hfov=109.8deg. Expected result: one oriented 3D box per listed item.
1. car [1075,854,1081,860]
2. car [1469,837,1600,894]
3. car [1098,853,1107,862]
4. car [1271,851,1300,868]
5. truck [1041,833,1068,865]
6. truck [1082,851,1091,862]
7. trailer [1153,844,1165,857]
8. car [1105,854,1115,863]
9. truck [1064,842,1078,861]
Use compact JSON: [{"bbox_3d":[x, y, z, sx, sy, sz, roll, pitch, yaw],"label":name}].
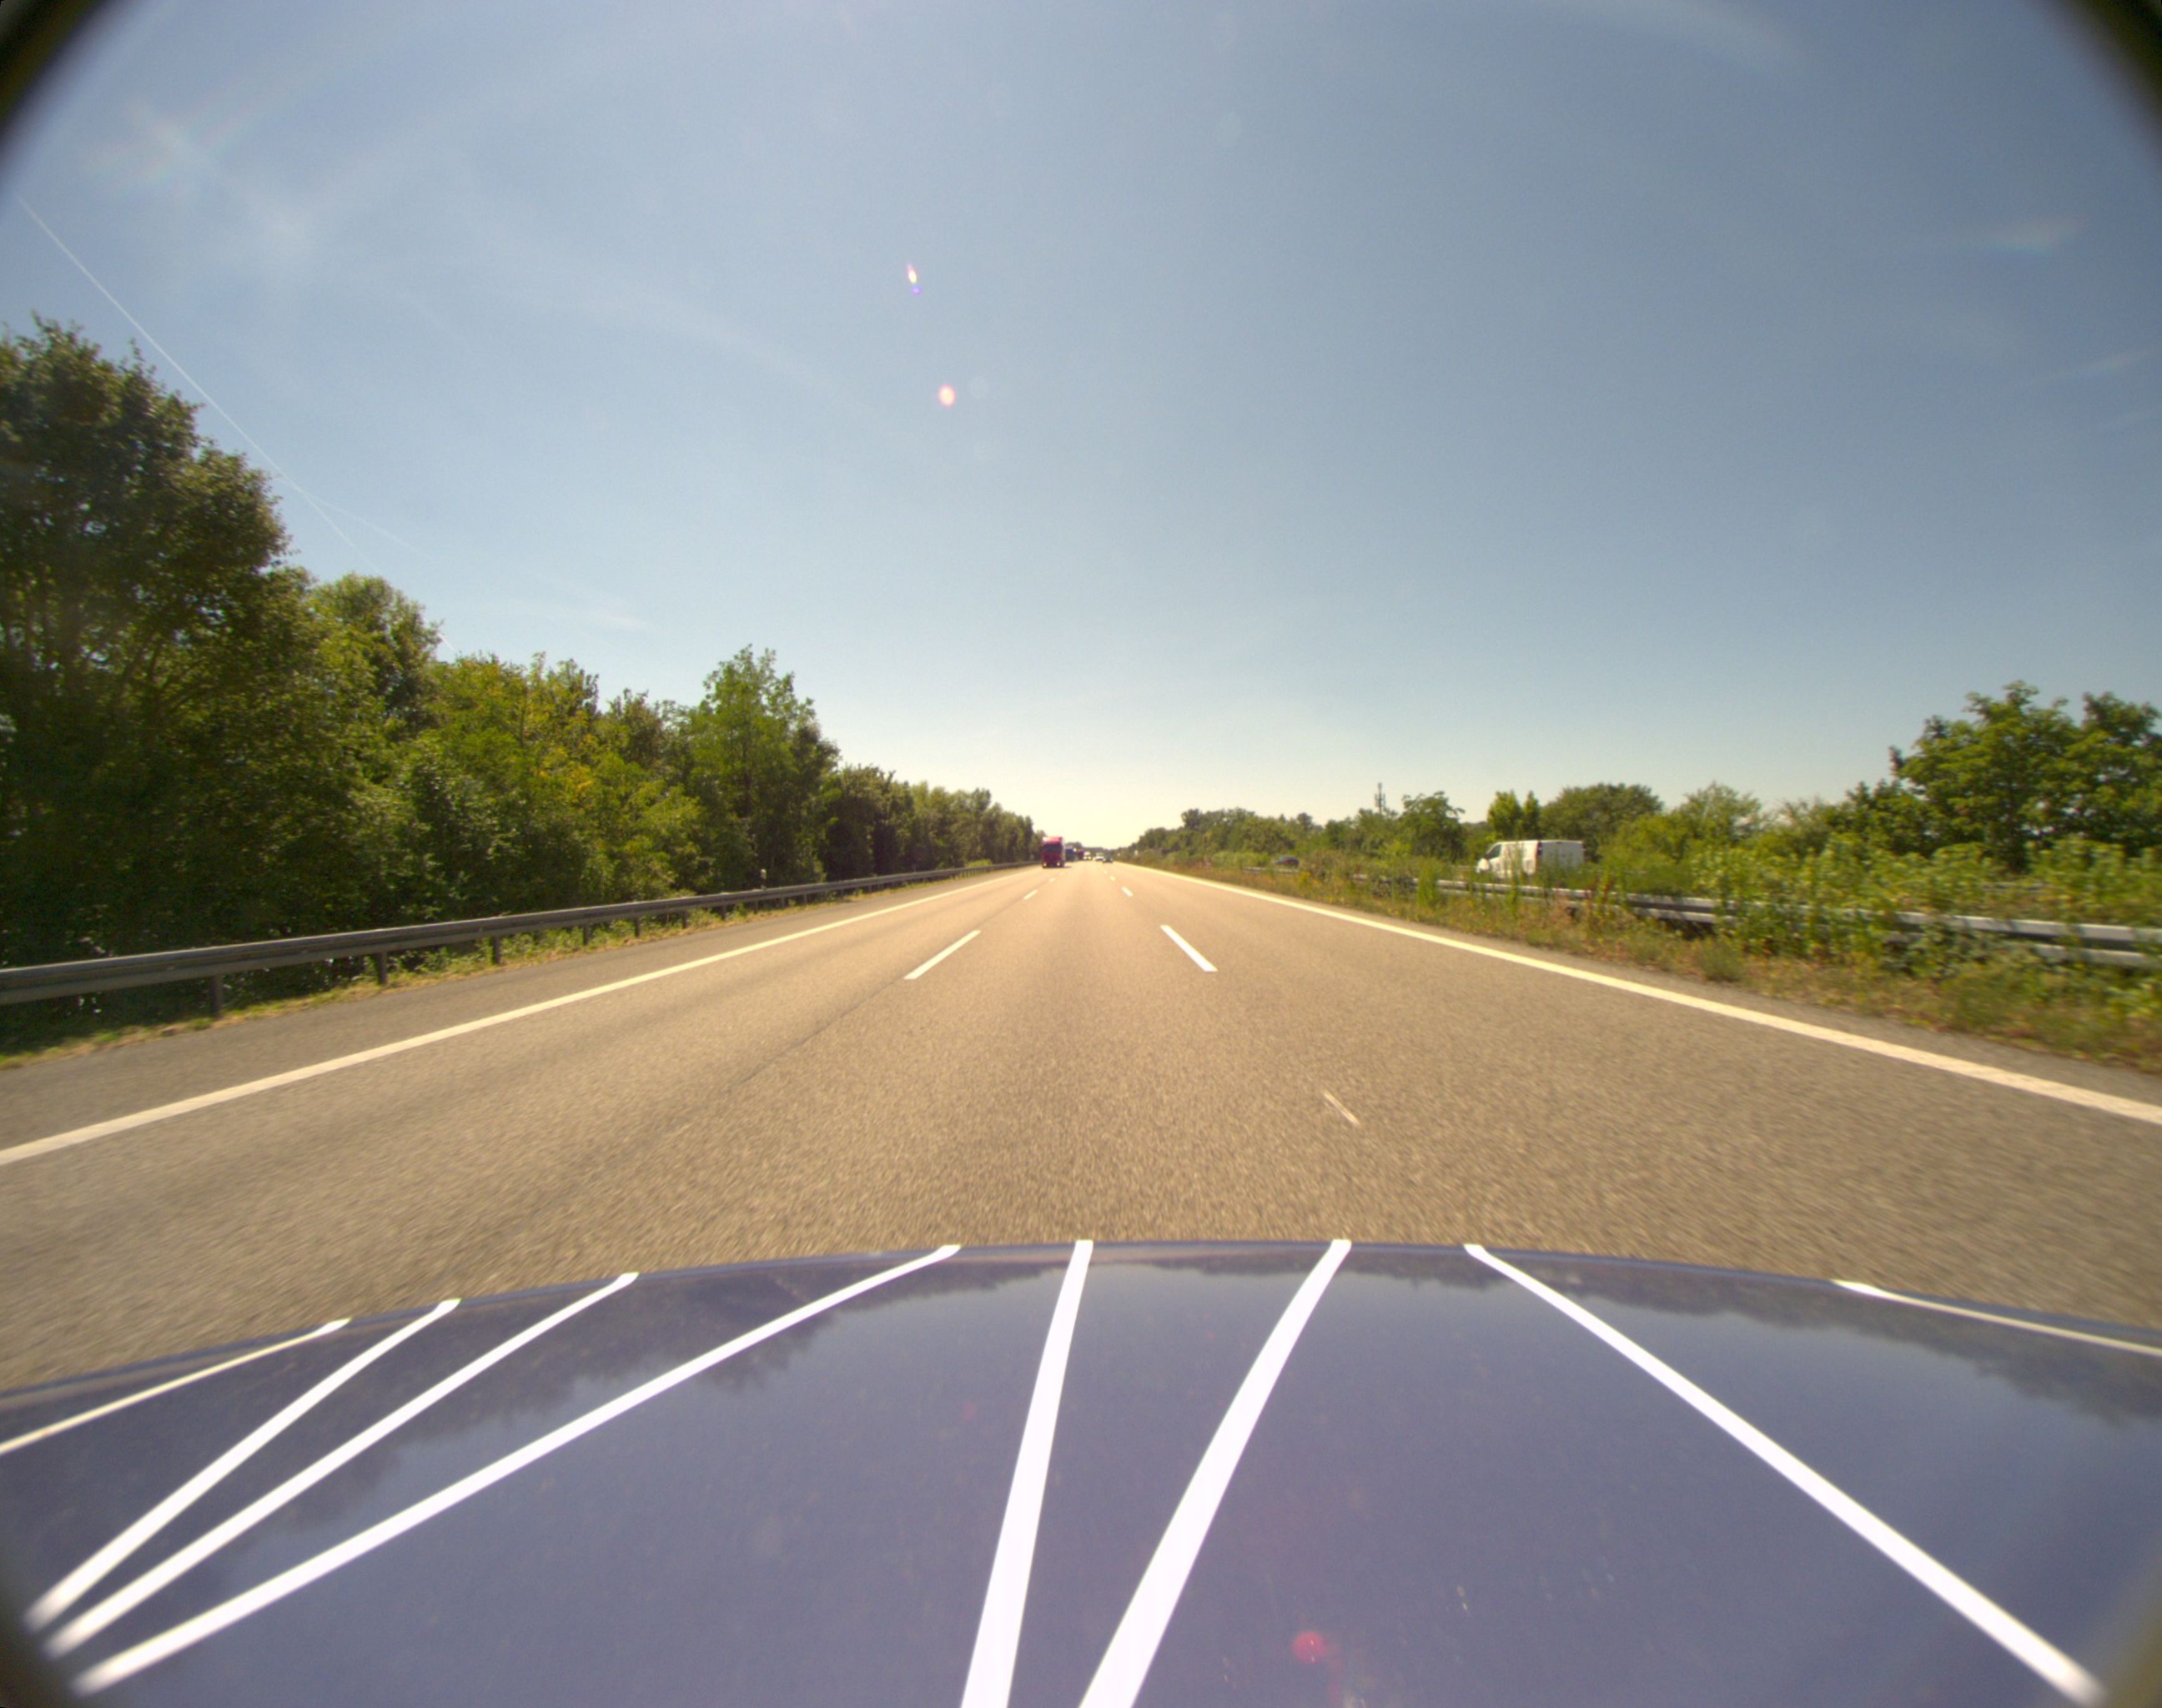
[{"bbox_3d":[-0.946,0.897,237.096,1.998,2.002,4.756,-2,0,1],"label":"car"},{"bbox_3d":[17.670,0.407,29.978,1.998,1.978,5.272,-2,0,0],"label":"car"},{"bbox_3d":[5.068,0.790,181.058,1.998,2.002,4.756,-2,0,1],"label":"car"},{"bbox_3d":[22.185,0.563,82.565,1.971,1.662,4.422,-2,0,0],"label":"car"},{"bbox_3d":[-3.409,-0.594,100.207,2.938,3.933,10.260,-2,0,1],"label":"truck"},{"bbox_3d":[1.735,0.689,244.090,2.726,3.391,9.769,-2,0,1],"label":"truck"},{"bbox_3d":[24.709,-1.033,241.993,2.939,3.952,10.628,-2,0,1],"label":"trailer"},{"bbox_3d":[5.147,0.771,136.582,1.736,1.433,4.000,-2,0,1],"label":"car"},{"bbox_3d":[-2.455,-0.670,192.165,2.938,4.429,10.260,-2,0,1],"label":"truck"}]
